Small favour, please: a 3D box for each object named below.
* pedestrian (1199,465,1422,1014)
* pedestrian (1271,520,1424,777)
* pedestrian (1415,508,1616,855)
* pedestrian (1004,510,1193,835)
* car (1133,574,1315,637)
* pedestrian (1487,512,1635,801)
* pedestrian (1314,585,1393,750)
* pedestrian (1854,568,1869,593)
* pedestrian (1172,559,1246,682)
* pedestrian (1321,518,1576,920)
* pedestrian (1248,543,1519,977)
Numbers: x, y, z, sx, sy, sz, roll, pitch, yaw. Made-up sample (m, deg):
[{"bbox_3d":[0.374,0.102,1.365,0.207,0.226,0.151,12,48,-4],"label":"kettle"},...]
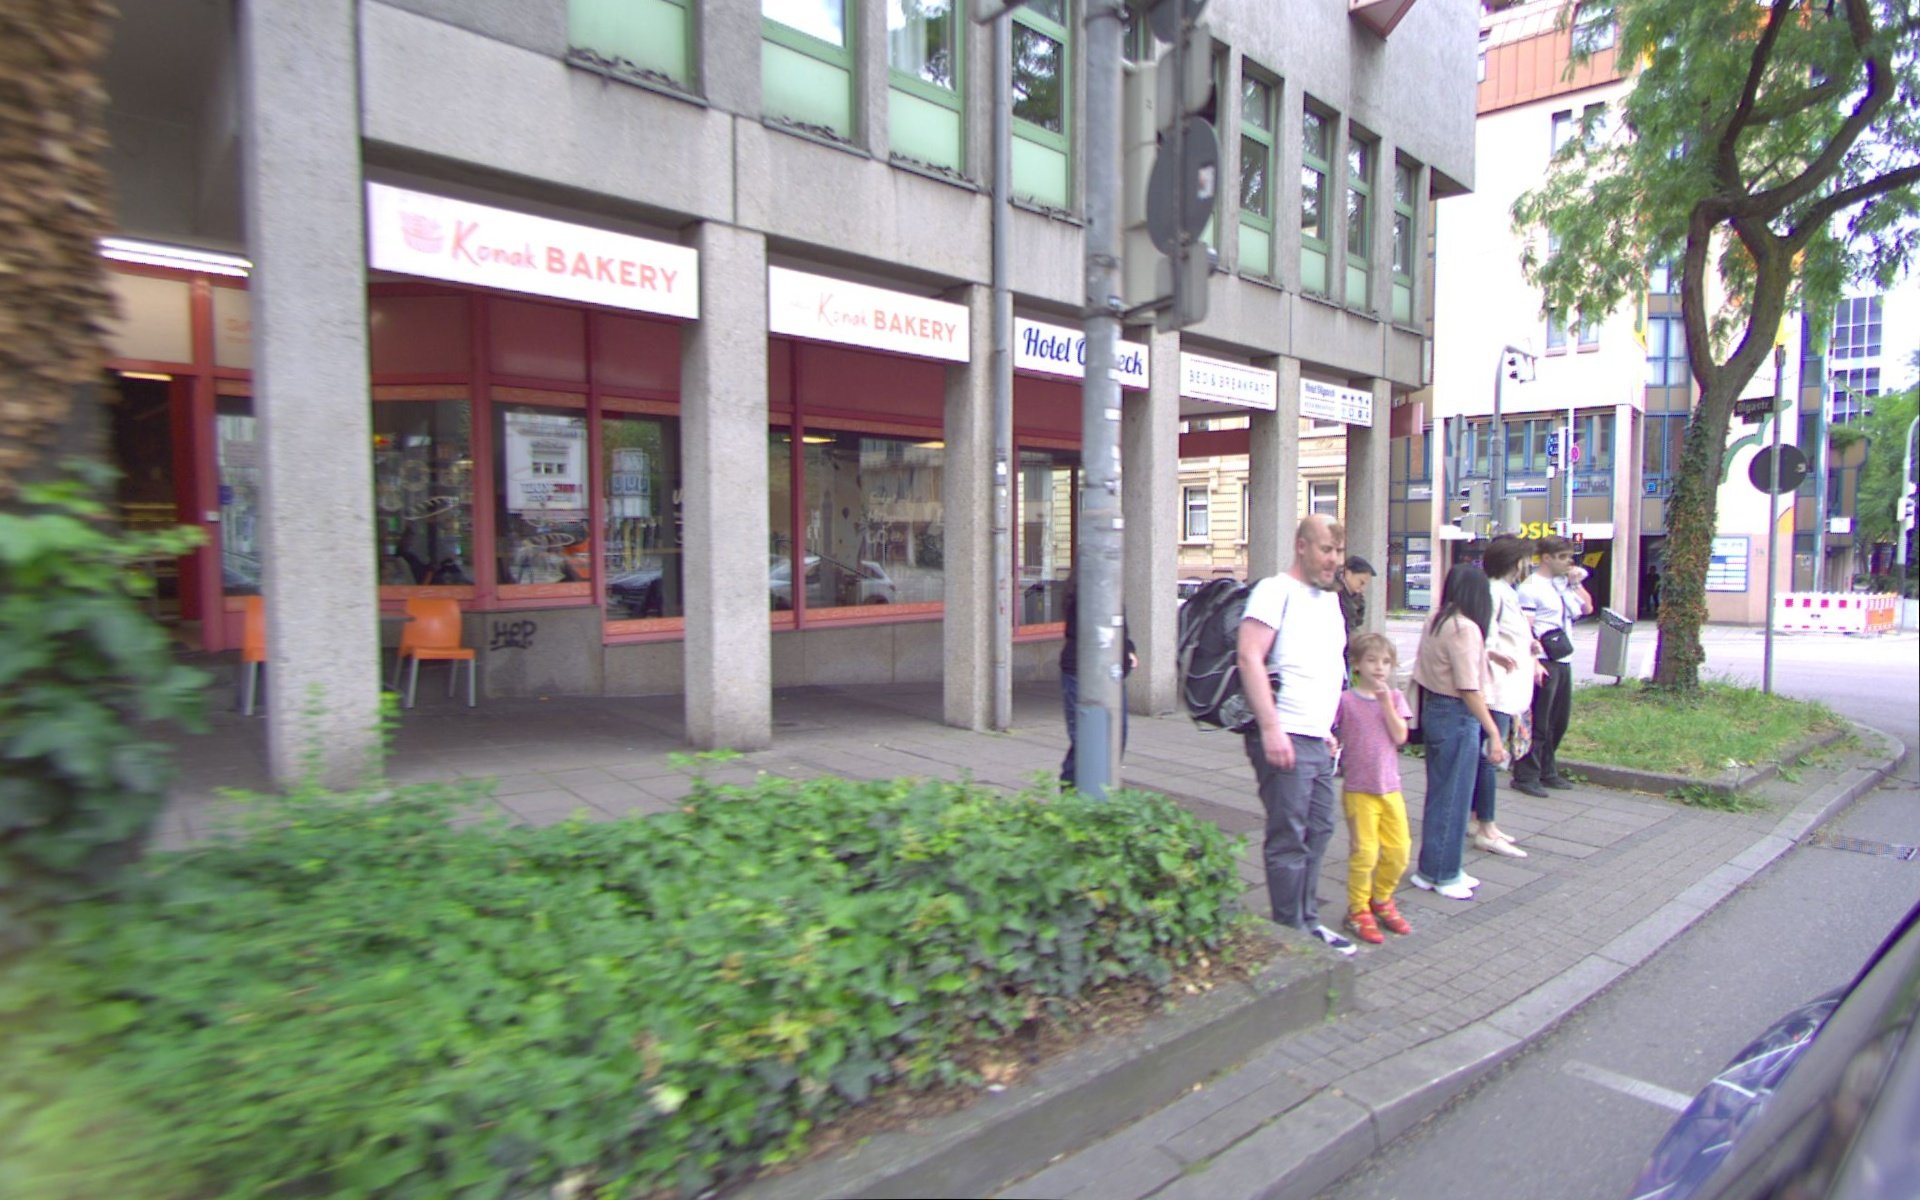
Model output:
[{"bbox_3d":[1.321,0.450,3.784,0.518,1.811,0.752,0,1,44],"label":"pedestrian"},{"bbox_3d":[2.976,0.336,7.769,0.721,1.825,0.821,5,2,44],"label":"pedestrian"},{"bbox_3d":[3.156,0.408,5.760,0.694,1.798,0.678,8,6,44],"label":"pedestrian"},{"bbox_3d":[0.763,0.354,5.547,0.616,1.632,0.752,4,1,45],"label":"pedestrian"},{"bbox_3d":[6.726,0.077,25.943,4.138,1.446,1.830,2,2,37],"label":"car"},{"bbox_3d":[4.250,0.353,7.163,0.734,1.897,0.722,2,2,45],"label":"pedestrian"},{"bbox_3d":[3.385,0.552,8.711,0.471,1.350,0.511,0,1,45],"label":"pedestrian"},{"bbox_3d":[63.257,-1.388,71.022,0.676,1.732,0.710,0,1,-41],"label":"pedestrian"},{"bbox_3d":[3.717,0.295,15.040,0.848,1.735,1.115,0,-1,27],"label":"pedestrian"},{"bbox_3d":[2.351,0.486,4.889,0.836,1.724,0.752,5,4,45],"label":"pedestrian"},{"bbox_3d":[1.777,0.568,4.249,0.836,1.582,0.752,0,2,45],"label":"pedestrian"}]
